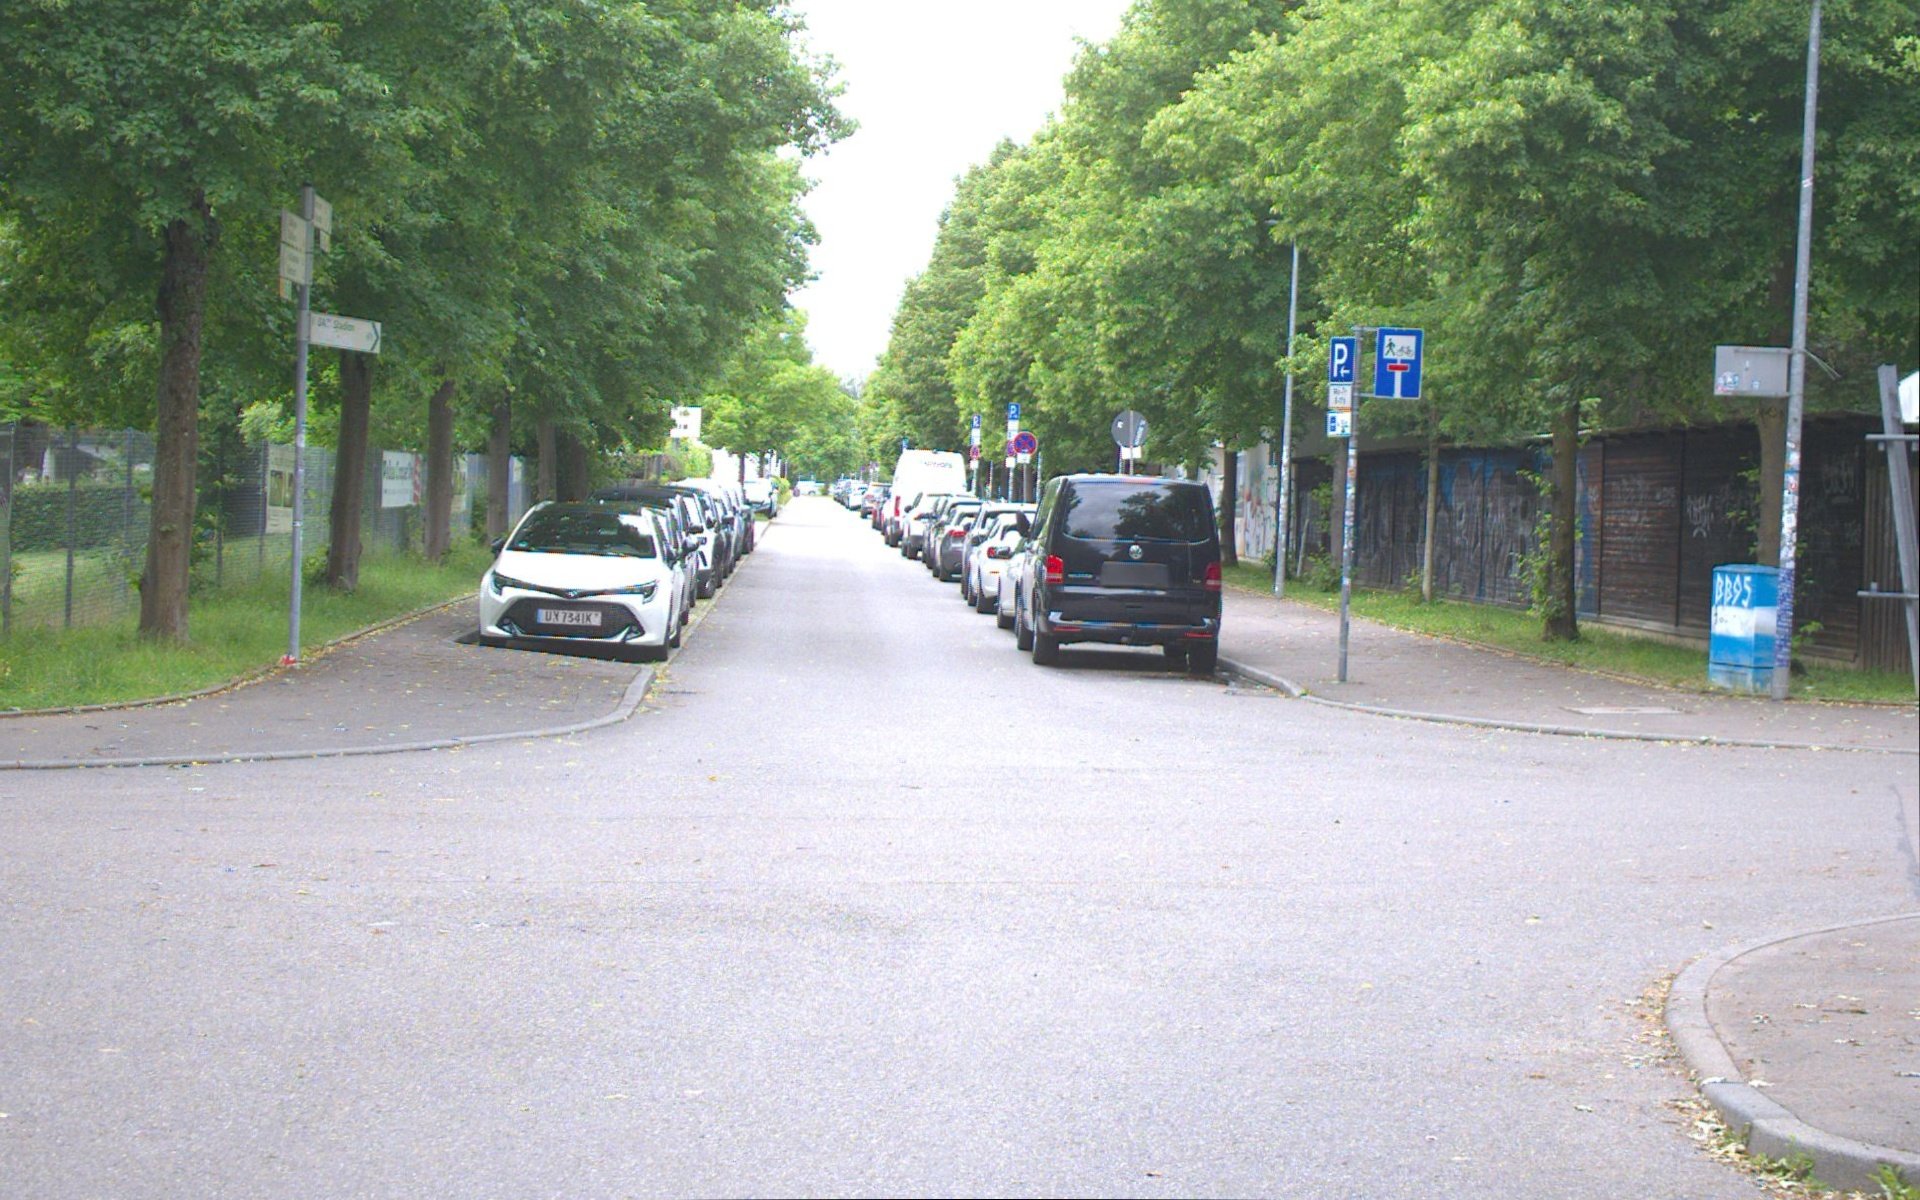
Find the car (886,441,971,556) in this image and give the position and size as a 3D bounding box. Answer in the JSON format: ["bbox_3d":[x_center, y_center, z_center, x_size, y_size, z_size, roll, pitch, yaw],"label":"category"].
[{"bbox_3d":[-0.867,-2.762,93.526,2.184,3.005,4.897,1,1,-1],"label":"car"}]

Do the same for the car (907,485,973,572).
[{"bbox_3d":[-0.470,-1.676,80.139,1.469,1.961,3.189,1,1,-1],"label":"car"}]

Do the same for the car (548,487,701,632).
[{"bbox_3d":[-3.736,-0.478,38.616,1.545,1.450,3.666,4,1,-5],"label":"car"}]

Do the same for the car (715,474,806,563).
[{"bbox_3d":[-3.815,-1.563,65.464,1.593,1.554,3.194,4,1,-4],"label":"car"}]

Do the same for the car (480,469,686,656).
[{"bbox_3d":[-3.595,-0.394,33.310,1.764,1.590,4.217,4,1,-5],"label":"car"}]

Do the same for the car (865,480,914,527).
[{"bbox_3d":[-3.147,-4.305,153.724,1.993,2.007,4.000,1,0,1],"label":"car"}]

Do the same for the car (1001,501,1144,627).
[{"bbox_3d":[1.366,-0.475,42.886,1.597,1.476,3.521,1,1,-1],"label":"car"}]

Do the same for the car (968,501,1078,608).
[{"bbox_3d":[0.895,-0.682,50.025,1.469,1.476,3.189,1,1,-1],"label":"car"}]

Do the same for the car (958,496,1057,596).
[{"bbox_3d":[0.734,-0.879,55.135,1.469,1.526,3.189,1,1,-1],"label":"car"}]

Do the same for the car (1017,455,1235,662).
[{"bbox_3d":[1.673,-0.460,36.027,1.988,2.007,4.108,1,1,-1],"label":"car"}]

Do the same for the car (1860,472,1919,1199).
[{"bbox_3d":[2.552,0.646,4.053,1.736,1.628,4.376,1,1,-1],"label":"car"}]

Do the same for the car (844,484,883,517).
[{"bbox_3d":[-5.246,-5.400,187.035,1.898,1.700,4.064,1,0,1],"label":"car"}]

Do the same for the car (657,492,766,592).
[{"bbox_3d":[-3.960,-0.941,54.840,1.593,1.452,3.194,4,1,-4],"label":"car"}]

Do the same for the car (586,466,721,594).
[{"bbox_3d":[-4.187,-0.976,47.368,1.691,1.590,4.000,4,1,-4],"label":"car"}]

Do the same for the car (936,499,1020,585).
[{"bbox_3d":[0.309,-1.096,64.023,1.469,1.526,3.189,1,1,-1],"label":"car"}]
